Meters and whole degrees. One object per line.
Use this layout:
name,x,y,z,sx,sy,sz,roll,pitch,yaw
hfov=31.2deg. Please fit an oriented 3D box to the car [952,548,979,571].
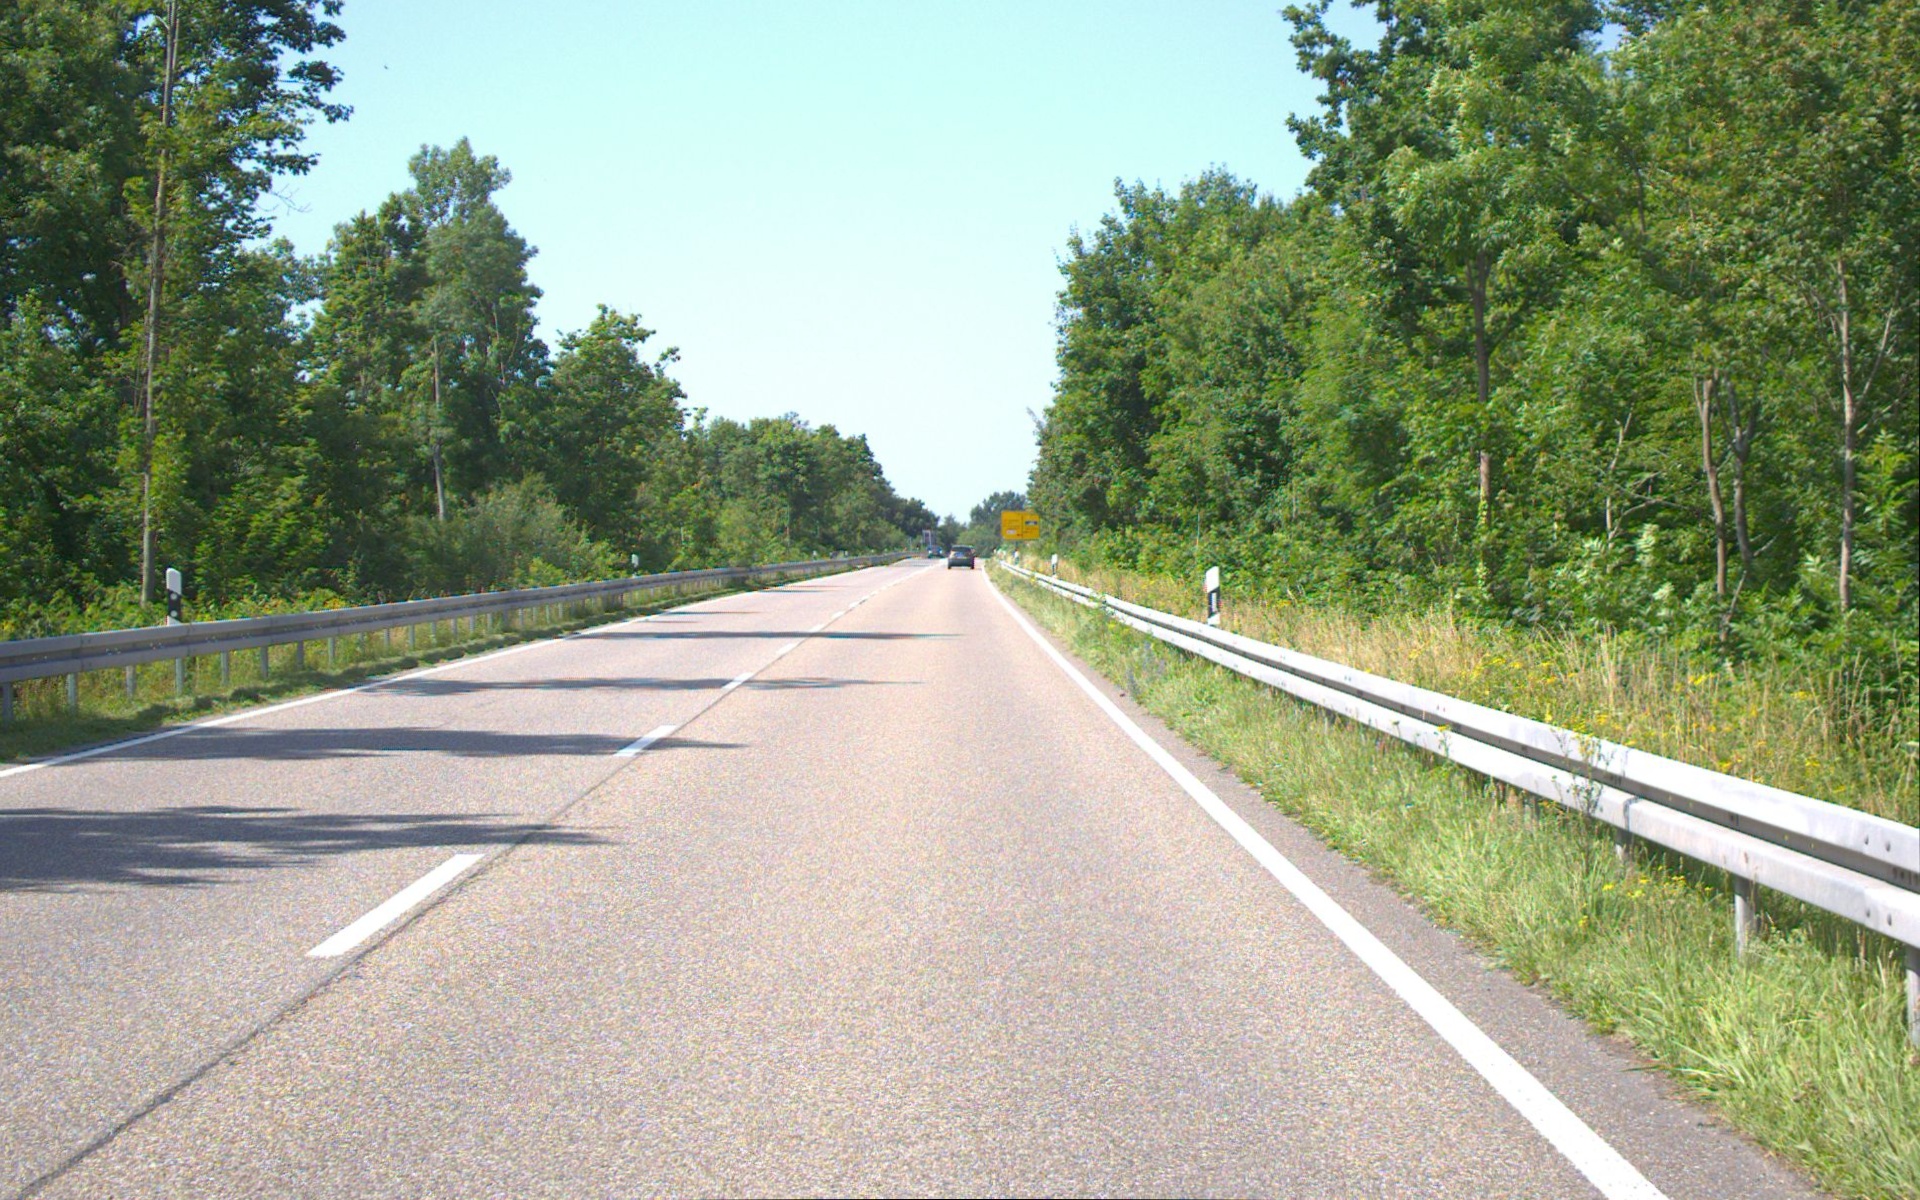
car,0.361,-2.717,229.828,1.741,1.465,3.692,0,1,1
